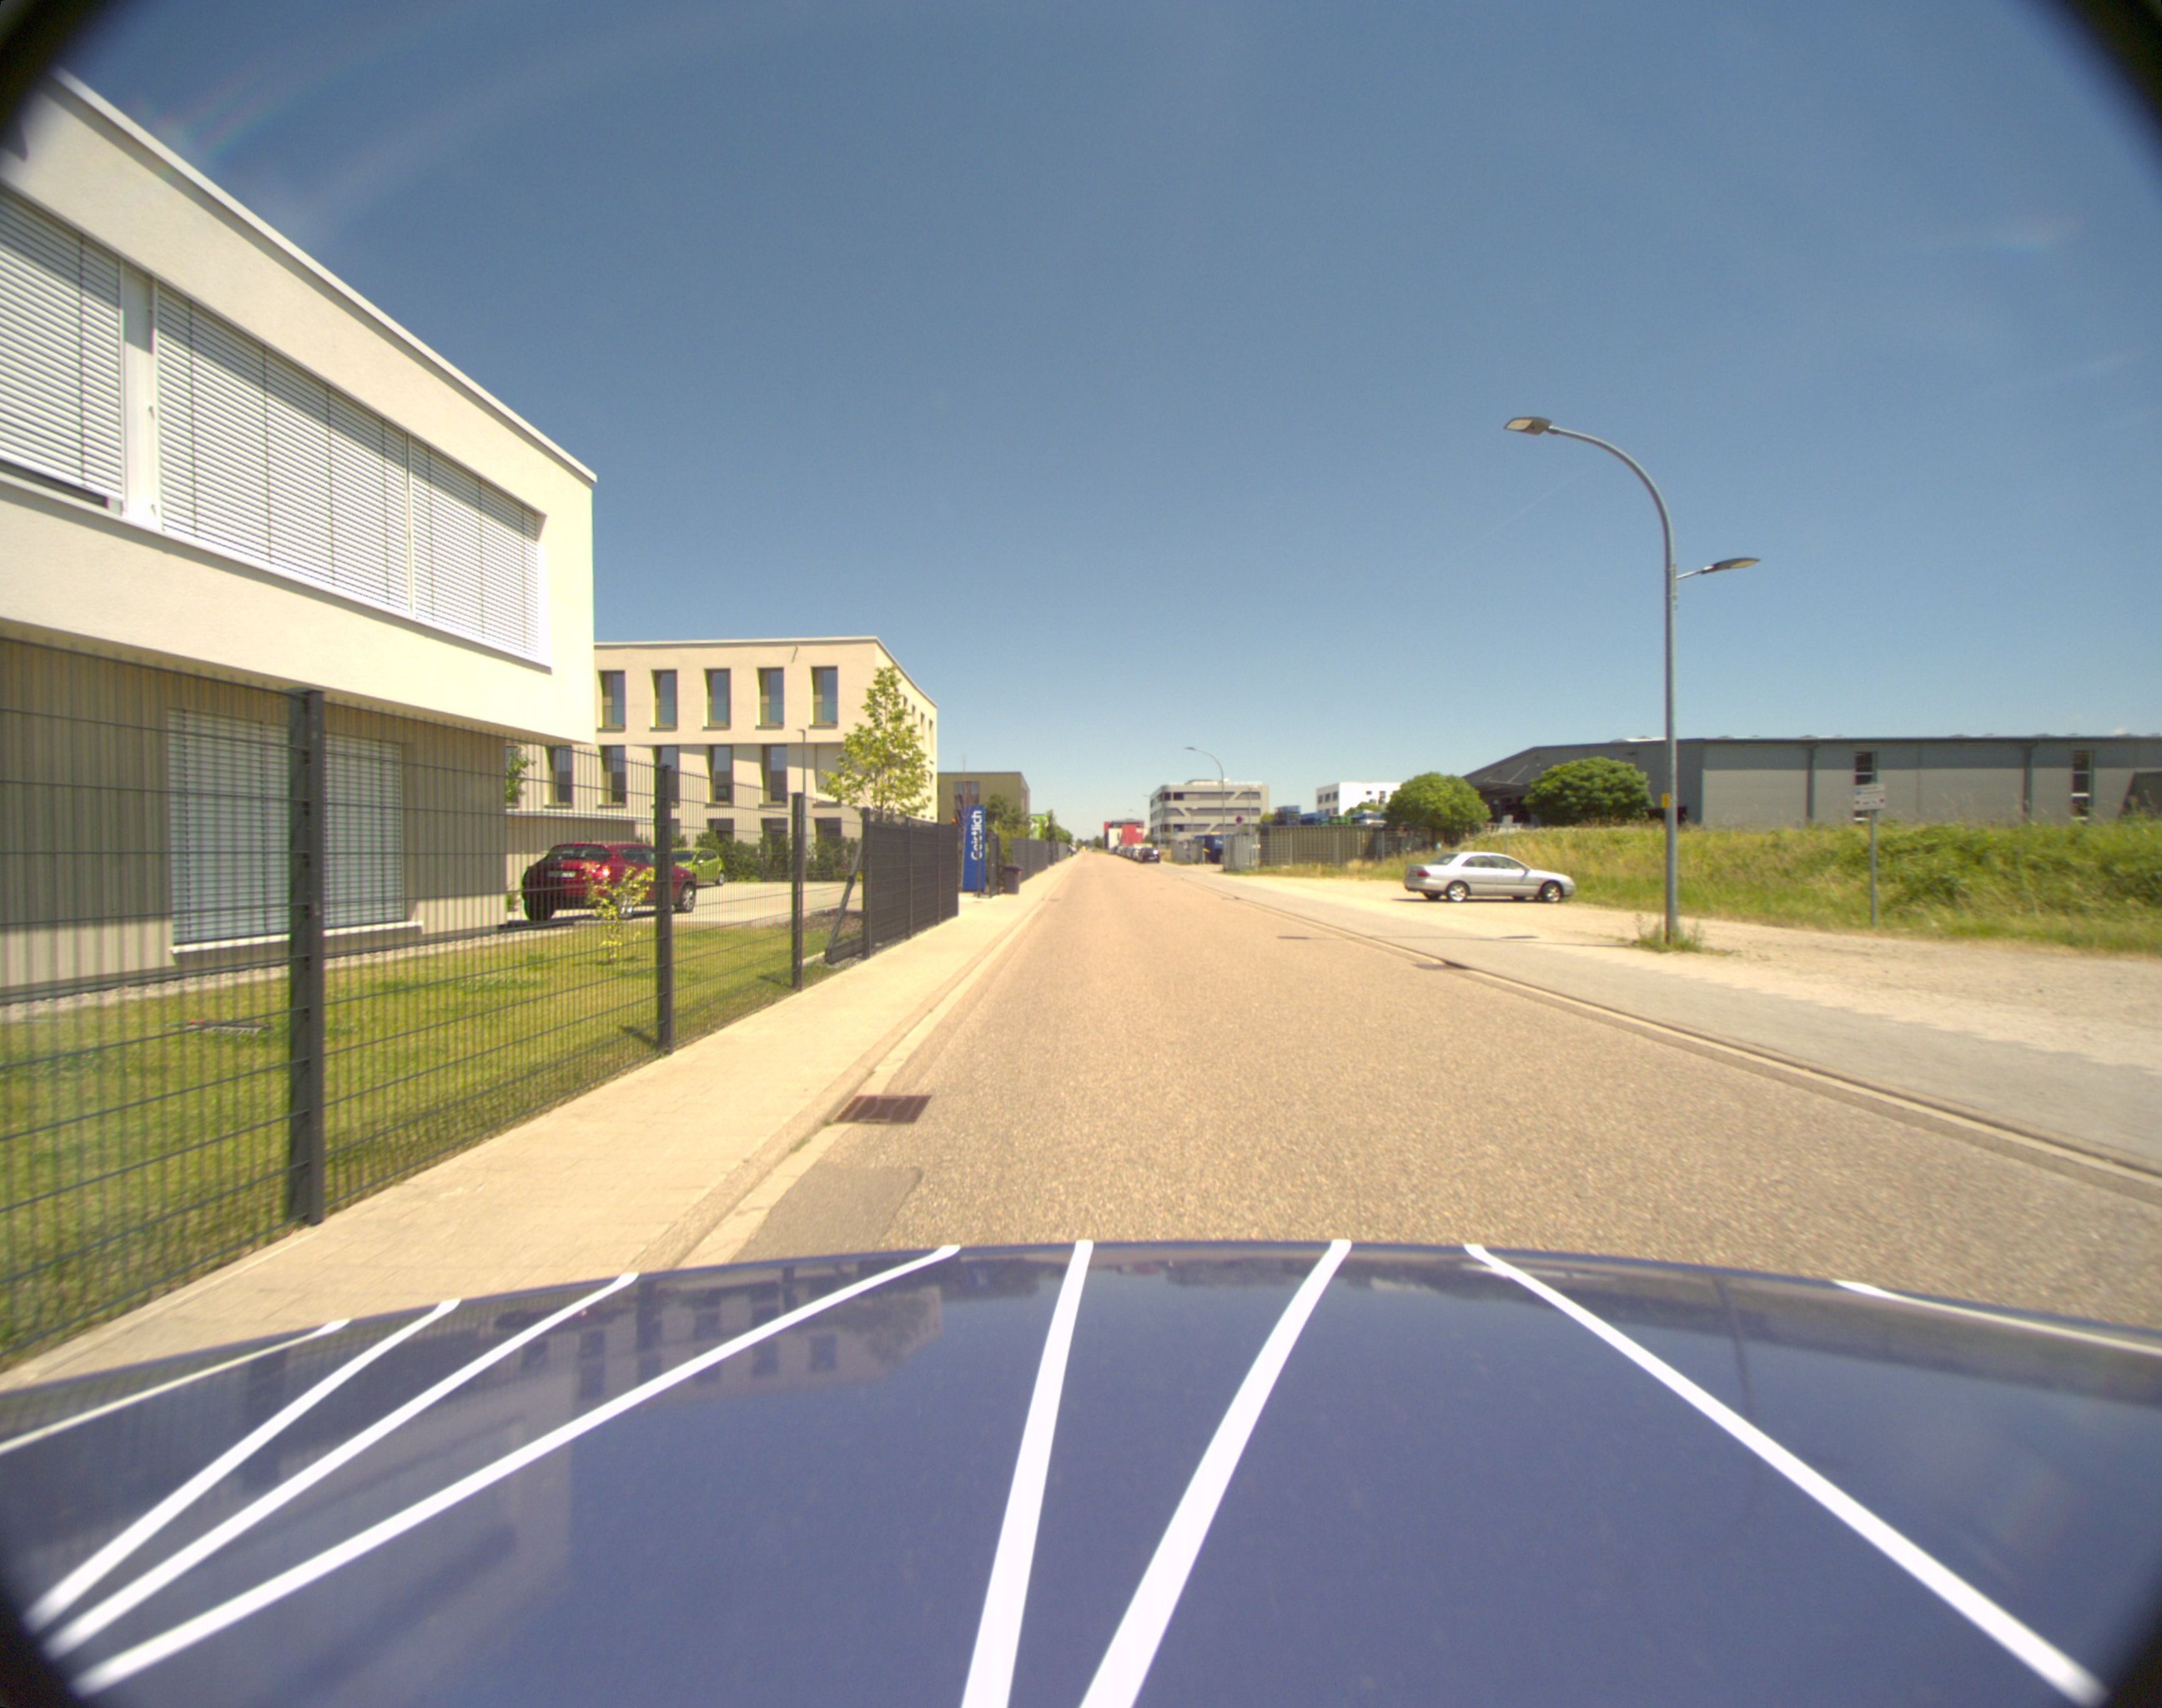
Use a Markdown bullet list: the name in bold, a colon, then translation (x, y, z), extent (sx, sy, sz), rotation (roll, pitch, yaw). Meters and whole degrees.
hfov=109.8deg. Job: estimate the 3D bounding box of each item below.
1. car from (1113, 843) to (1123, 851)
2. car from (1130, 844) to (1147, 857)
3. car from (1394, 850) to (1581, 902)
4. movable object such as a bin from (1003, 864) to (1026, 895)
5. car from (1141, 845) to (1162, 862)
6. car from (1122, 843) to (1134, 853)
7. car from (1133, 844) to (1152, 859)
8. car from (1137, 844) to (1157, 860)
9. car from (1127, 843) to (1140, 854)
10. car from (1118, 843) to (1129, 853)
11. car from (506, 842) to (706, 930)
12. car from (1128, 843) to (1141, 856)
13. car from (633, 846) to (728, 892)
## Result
- **car**: translation (7.655, -1.486, 156.552), extent (1.772, 1.521, 3.777), rotation (-3, 1, 1)
- **car**: translation (7.099, -0.423, 94.236), extent (1.772, 1.462, 3.777), rotation (-4, 1, 1)
- **car**: translation (11.322, 0.591, 21.386), extent (4.257, 1.371, 1.862), rotation (0, 1, 2)
- **movable object such as a bin**: translation (-2.369, 0.906, 27.207), extent (0.749, 1.042, 0.698), rotation (0, 1, 1)
- **car**: translation (6.887, -0.059, 74.334), extent (1.695, 1.481, 3.660), rotation (-3, 1, 1)
- **car**: translation (7.646, -0.920, 124.001), extent (1.772, 1.521, 3.777), rotation (-3, 1, 1)
- **car**: translation (6.918, -0.315, 85.728), extent (1.772, 1.521, 3.777), rotation (-3, 1, 1)
- **car**: translation (6.960, -0.225, 80.400), extent (1.772, 1.521, 3.777), rotation (-3, 1, 1)
- **car**: translation (7.584, -0.770, 110.017), extent (1.772, 1.521, 3.777), rotation (-3, 1, 1)
- **car**: translation (7.577, -1.085, 136.510), extent (1.772, 1.521, 3.777), rotation (-3, 1, 1)
- **car**: translation (-9.549, 0.606, 15.707), extent (1.673, 1.548, 4.077), rotation (-1, -1, -2)
- **car**: translation (7.422, -0.646, 105.515), extent (1.659, 1.573, 3.777), rotation (-3, 1, 1)
- **car**: translation (-14.036, 0.472, 26.853), extent (1.614, 1.456, 3.599), rotation (-1, 1, -4)
